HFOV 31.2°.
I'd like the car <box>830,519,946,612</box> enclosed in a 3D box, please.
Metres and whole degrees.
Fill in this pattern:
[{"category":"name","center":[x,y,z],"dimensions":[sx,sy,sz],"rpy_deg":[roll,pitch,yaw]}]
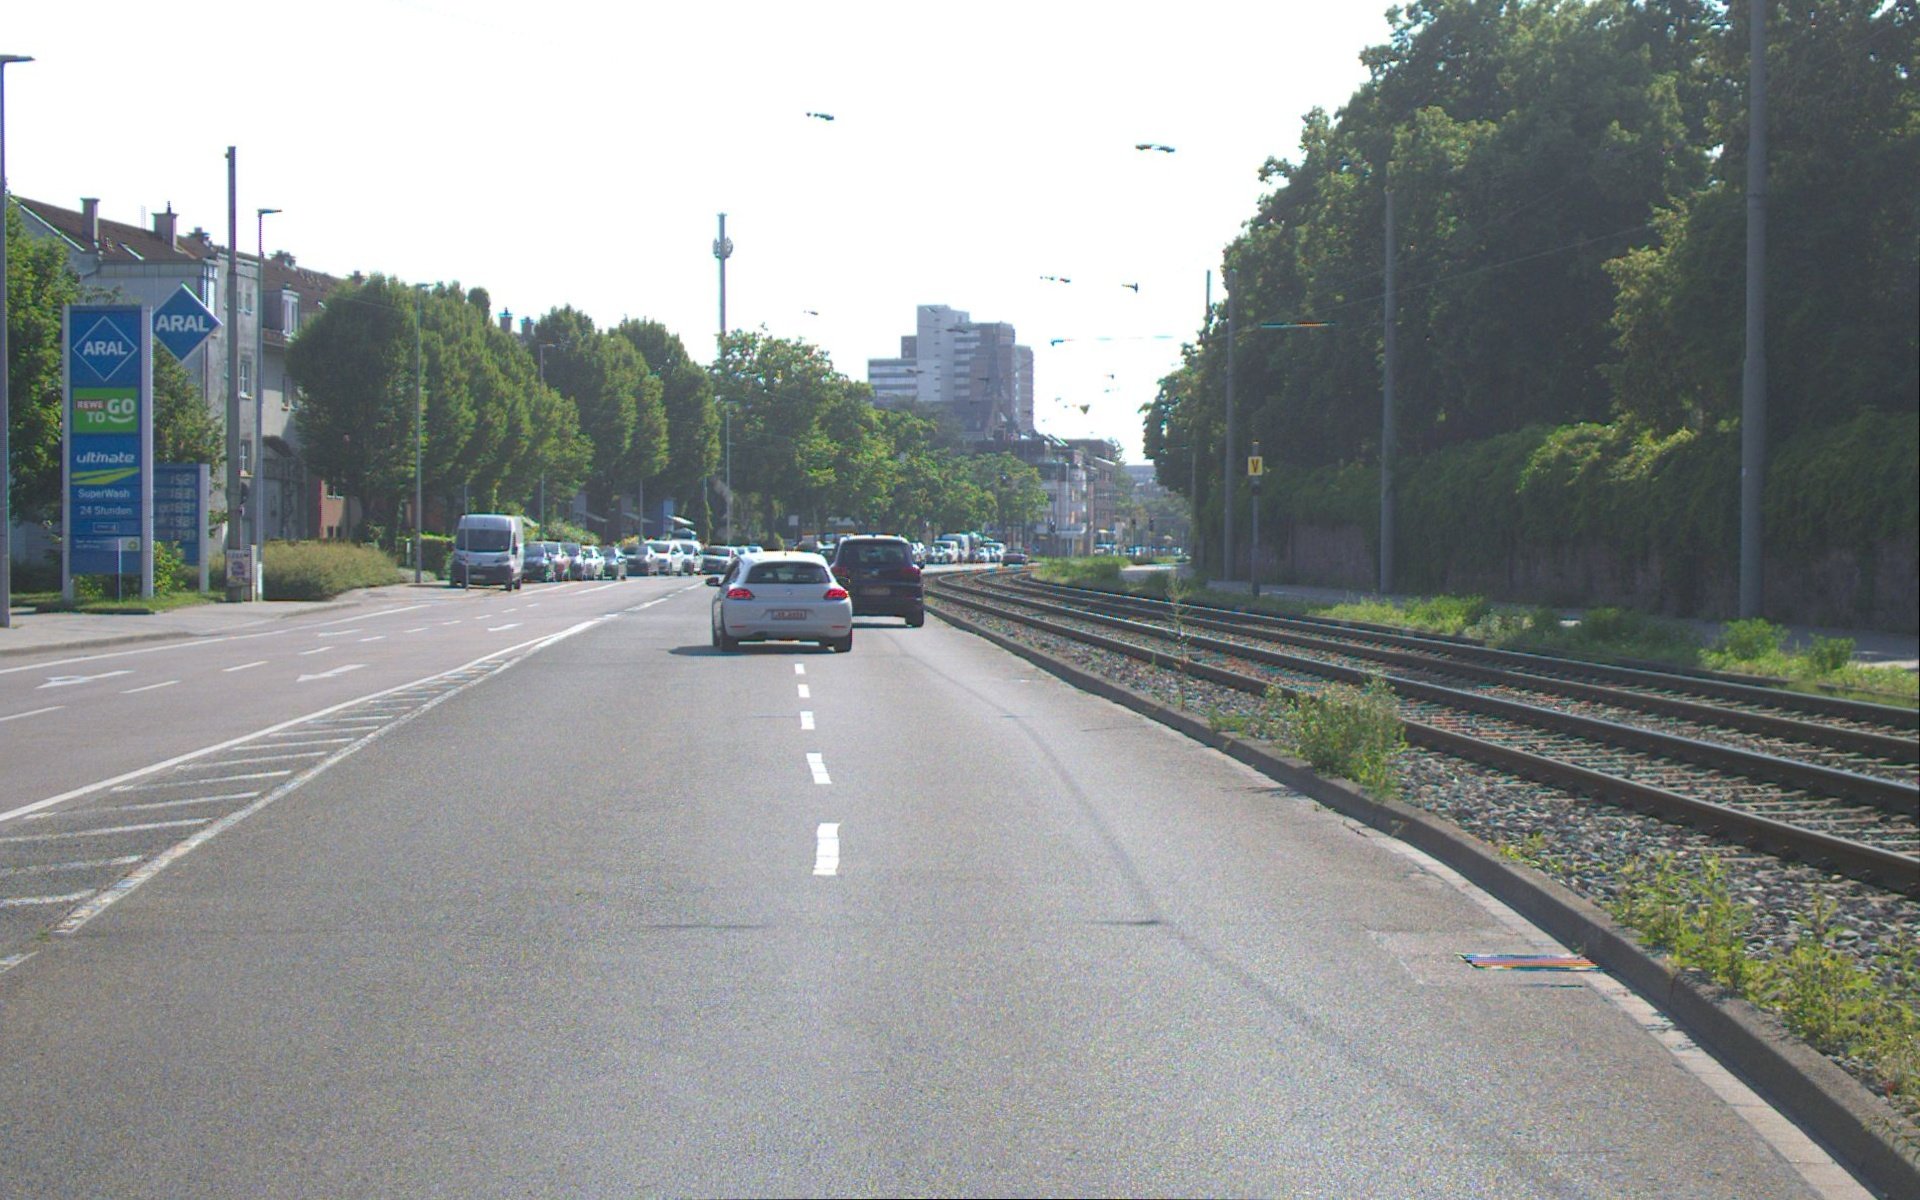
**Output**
[{"category":"car","center":[-1.336,-0.644,62.446],"dimensions":[1.724,1.587,3.602],"rpy_deg":[2,1,-7]}]

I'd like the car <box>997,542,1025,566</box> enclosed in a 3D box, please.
[{"category":"car","center":[3.571,-3.201,239.349],"dimensions":[1.724,1.587,3.601],"rpy_deg":[2,1,3]}]

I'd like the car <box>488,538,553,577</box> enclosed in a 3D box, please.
[{"category":"car","center":[-16.586,-1.613,129.884],"dimensions":[1.993,1.411,3.844],"rpy_deg":[0,1,-1]}]

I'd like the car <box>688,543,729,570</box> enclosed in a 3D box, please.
[{"category":"car","center":[-13.596,-2.350,185.950],"dimensions":[1.993,1.411,3.844],"rpy_deg":[0,1,-1]}]

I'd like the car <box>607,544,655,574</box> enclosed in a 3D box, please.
[{"category":"car","center":[-15.720,-1.962,164.398],"dimensions":[1.993,1.411,3.844],"rpy_deg":[0,1,-1]}]

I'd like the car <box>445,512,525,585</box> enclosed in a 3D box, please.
[{"category":"car","center":[-15.805,-1.717,114.531],"dimensions":[1.993,2.368,4.538],"rpy_deg":[0,1,0]}]

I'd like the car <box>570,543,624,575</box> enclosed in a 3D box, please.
[{"category":"car","center":[-16.111,-1.831,152.716],"dimensions":[1.993,1.411,3.844],"rpy_deg":[0,1,-1]}]

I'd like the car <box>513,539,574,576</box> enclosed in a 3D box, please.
[{"category":"car","center":[-16.496,-1.683,136.253],"dimensions":[1.993,1.411,3.844],"rpy_deg":[0,1,-1]}]

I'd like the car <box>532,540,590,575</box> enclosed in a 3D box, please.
[{"category":"car","center":[-16.504,-1.751,142.422],"dimensions":[1.993,1.411,3.844],"rpy_deg":[0,1,-1]}]

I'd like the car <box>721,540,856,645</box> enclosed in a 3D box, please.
[{"category":"car","center":[-2.414,-0.133,48.271],"dimensions":[1.780,1.351,3.602],"rpy_deg":[2,1,-3]}]
